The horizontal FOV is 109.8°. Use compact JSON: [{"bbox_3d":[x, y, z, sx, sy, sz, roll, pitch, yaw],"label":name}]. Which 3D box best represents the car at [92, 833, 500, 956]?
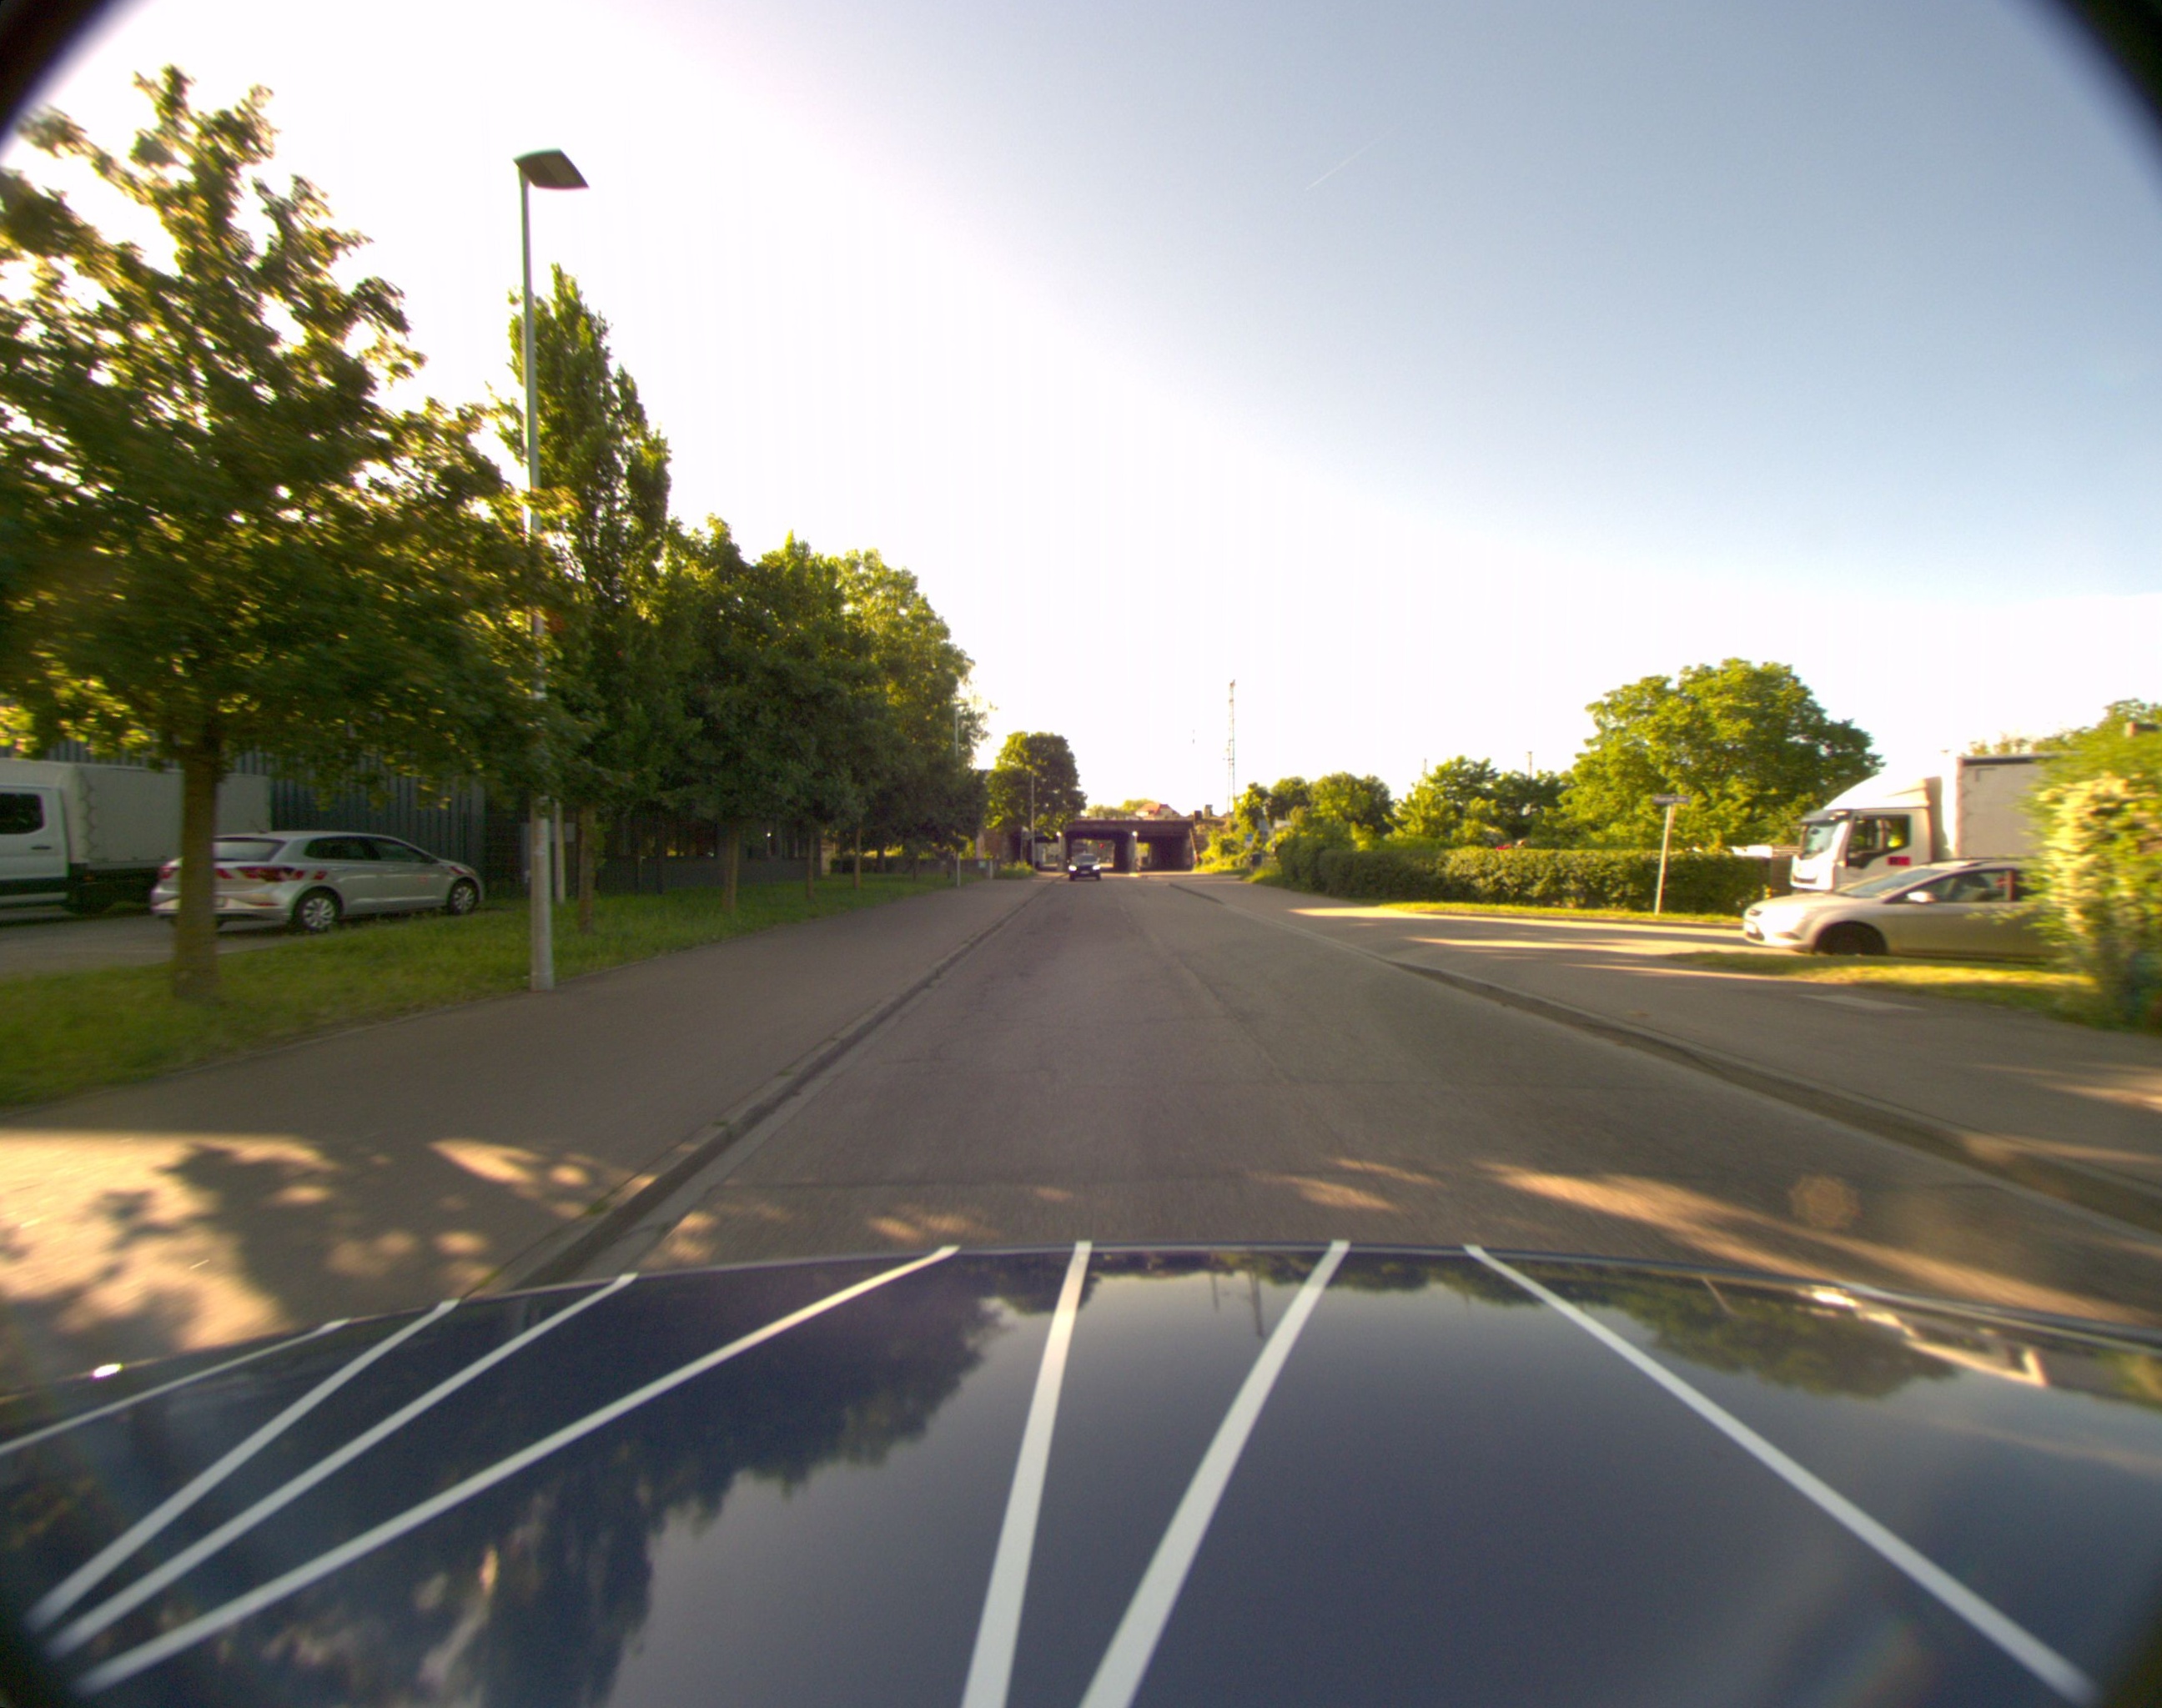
[{"bbox_3d":[-11.552,0.459,11.751,1.840,1.458,4.277,-3,1,-2],"label":"car"}]

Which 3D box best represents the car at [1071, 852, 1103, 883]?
[{"bbox_3d":[0.415,0.818,48.786,1.940,1.922,4.524,0,0,1],"label":"car"}]

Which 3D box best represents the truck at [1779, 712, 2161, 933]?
[{"bbox_3d":[19.783,-0.608,14.351,9.310,3.862,2.715,-1,3,30],"label":"truck"}]

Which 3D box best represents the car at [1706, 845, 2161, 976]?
[{"bbox_3d":[11.736,0.736,10.686,4.213,1.482,1.879,-2,2,27],"label":"car"}]

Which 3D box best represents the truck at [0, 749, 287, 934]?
[{"bbox_3d":[-16.729,-0.141,11.588,2.287,2.662,6.399,-3,1,1],"label":"truck"}]
